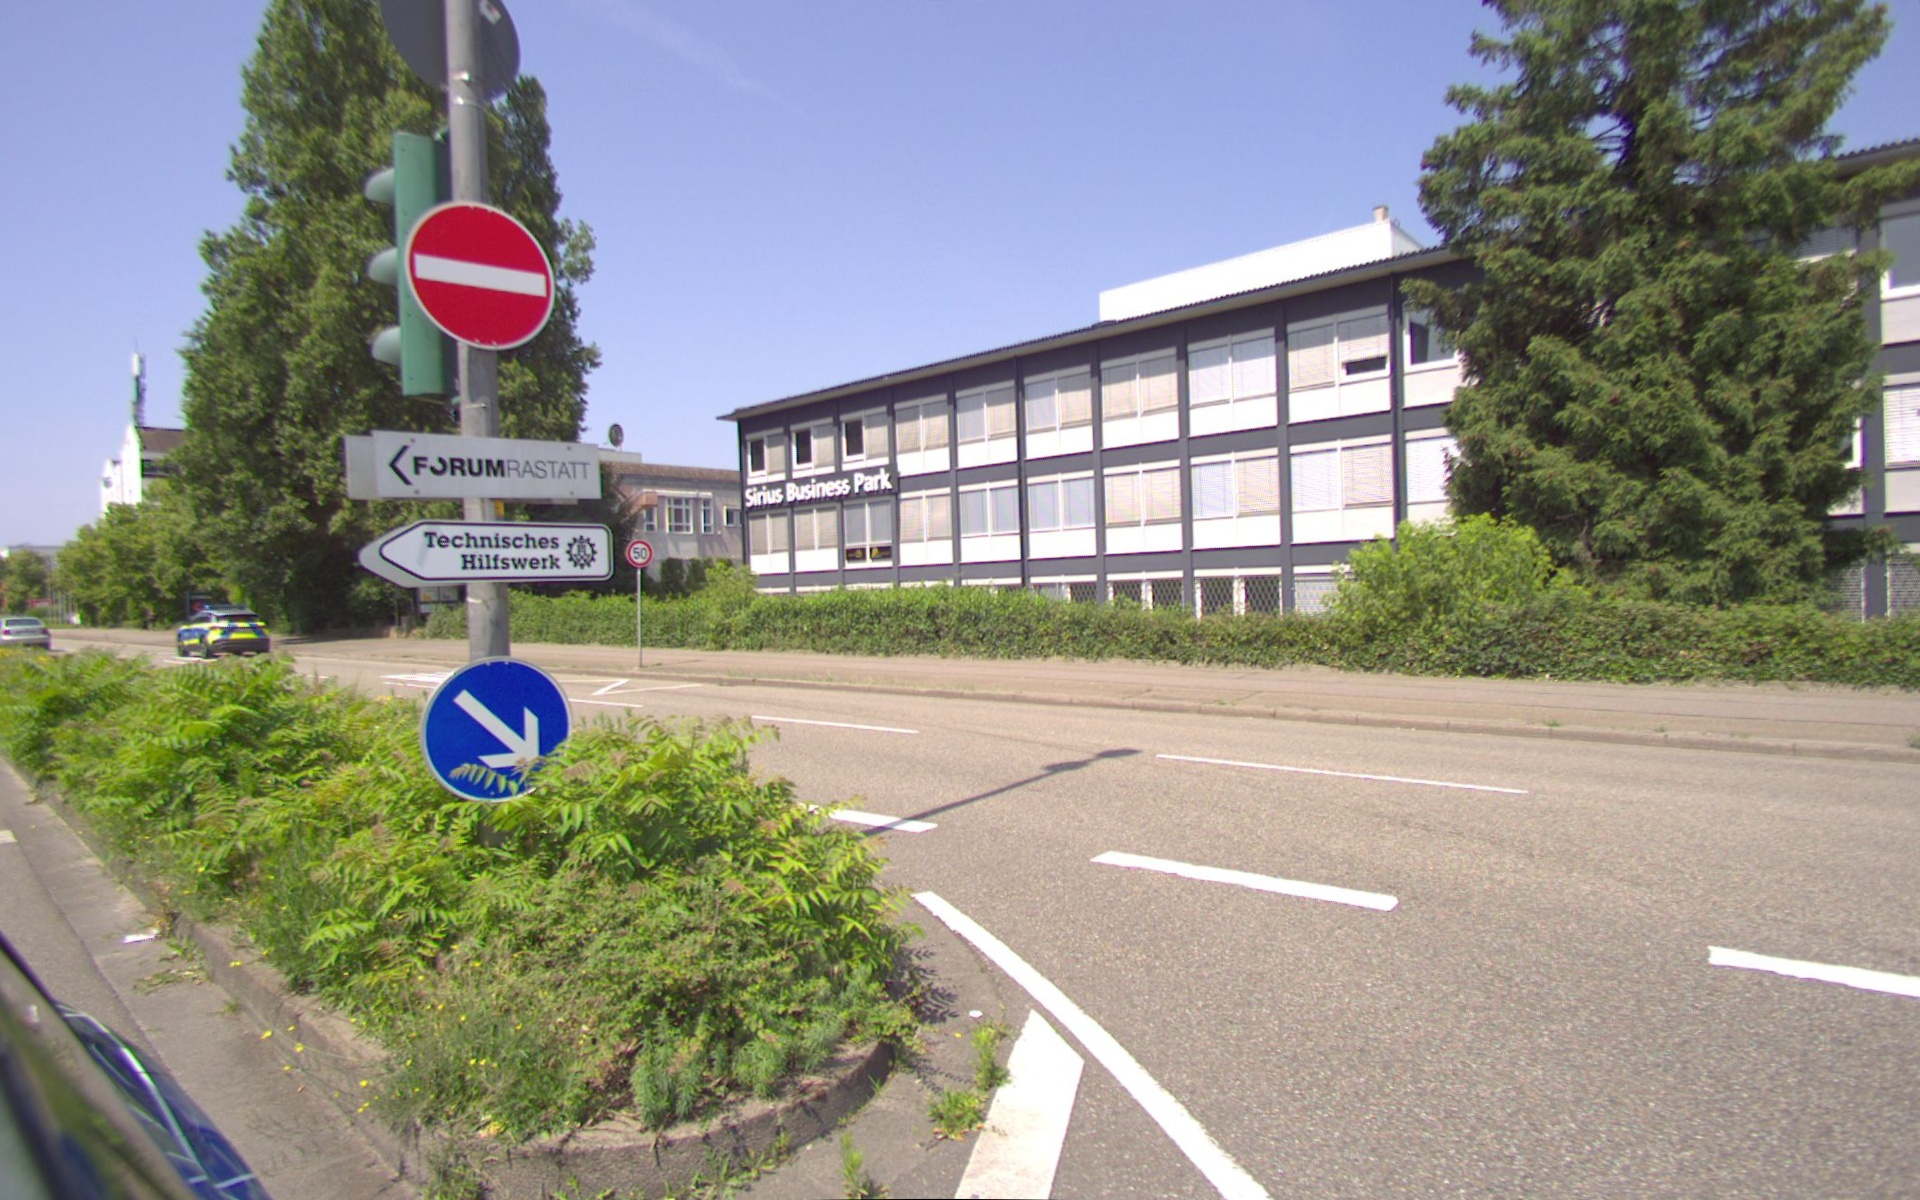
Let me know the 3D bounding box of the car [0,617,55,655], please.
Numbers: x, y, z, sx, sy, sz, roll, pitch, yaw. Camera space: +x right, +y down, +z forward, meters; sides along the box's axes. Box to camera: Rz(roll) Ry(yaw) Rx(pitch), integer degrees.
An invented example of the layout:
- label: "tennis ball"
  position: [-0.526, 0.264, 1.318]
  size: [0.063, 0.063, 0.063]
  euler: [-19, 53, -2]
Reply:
- label: "car"
  position: [-39.163, 1.460, 42.008]
  size: [4.087, 1.429, 1.742]
  euler: [0, 1, 39]

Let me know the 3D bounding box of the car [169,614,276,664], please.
- label: "car"
  position: [-25.127, 1.284, 34.445]
  size: [4.281, 1.572, 1.876]
  euler: [-1, -1, 38]
